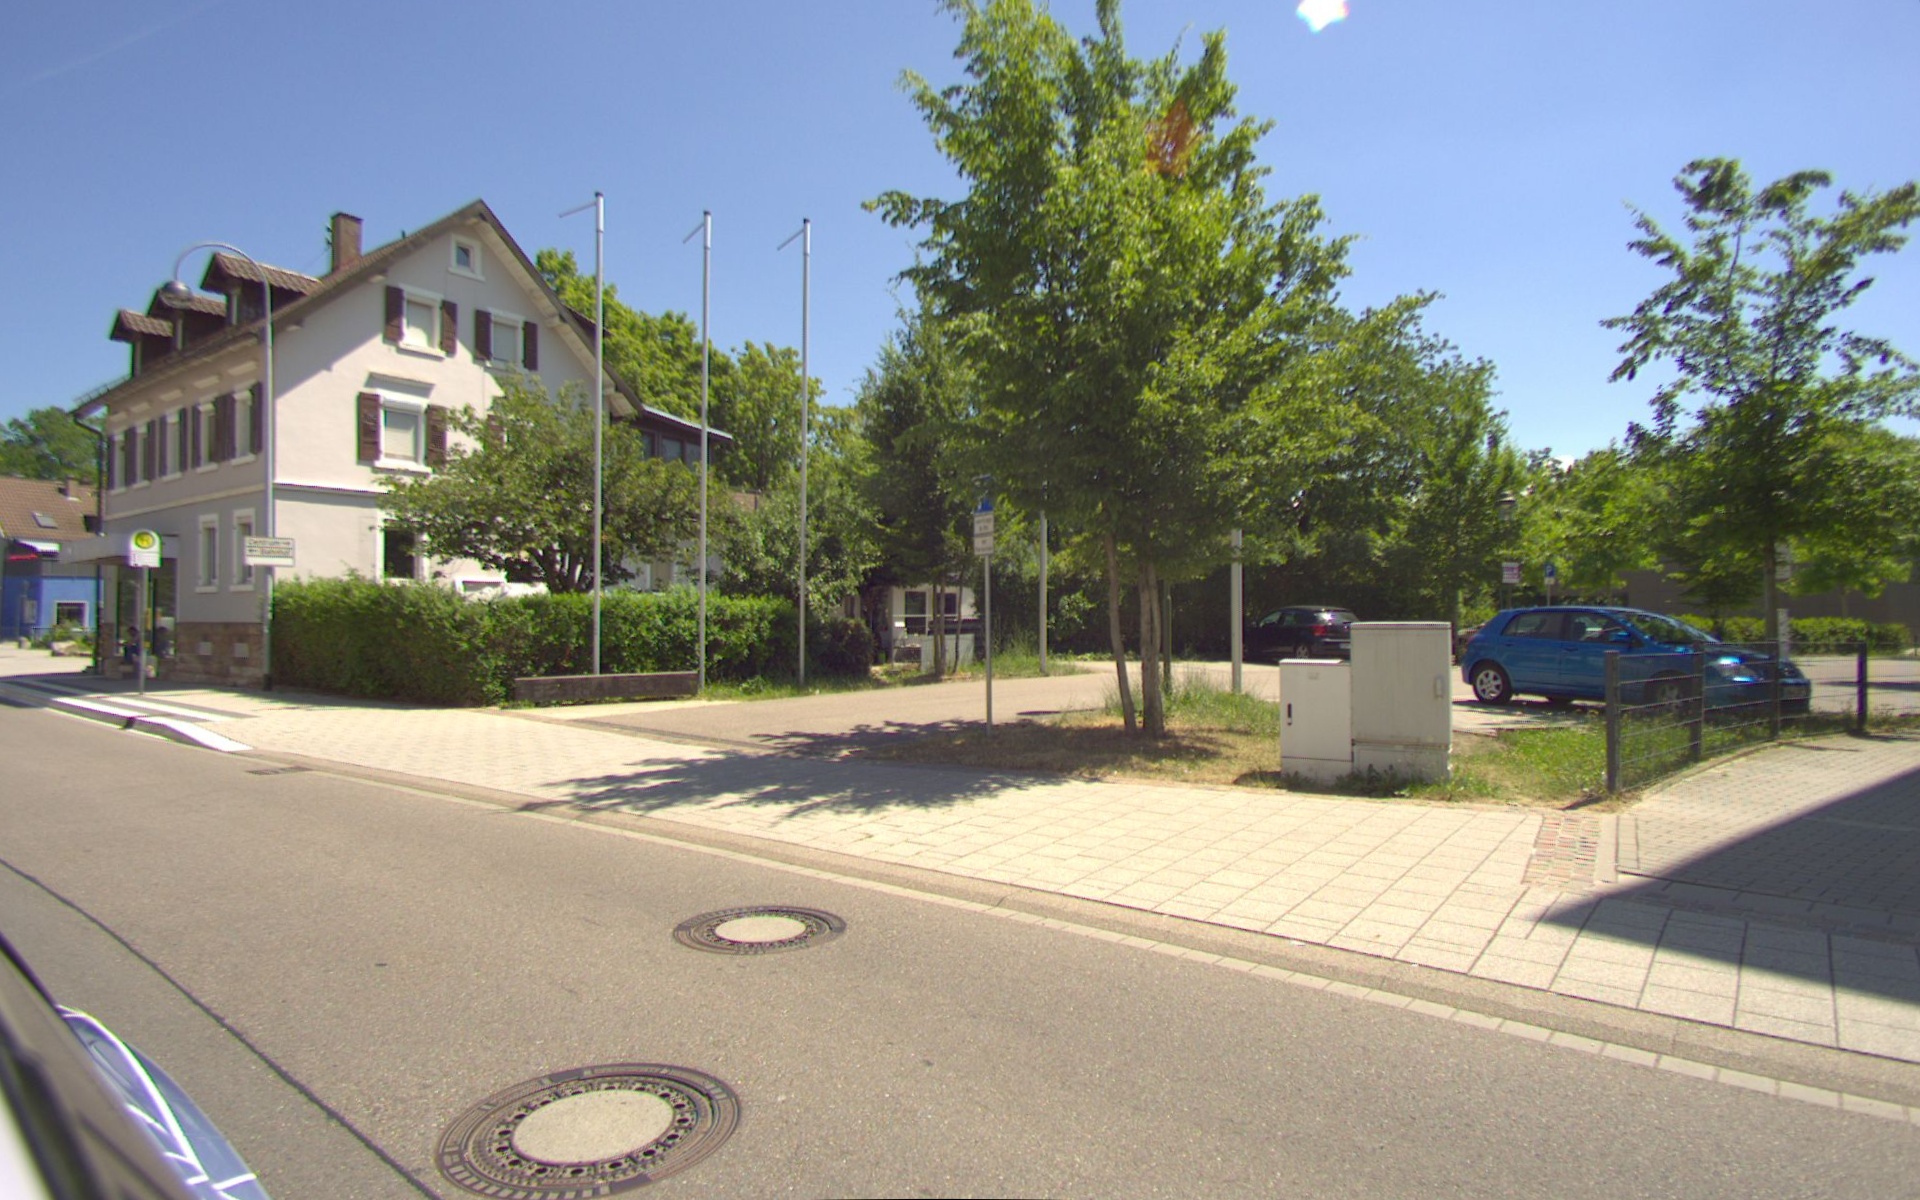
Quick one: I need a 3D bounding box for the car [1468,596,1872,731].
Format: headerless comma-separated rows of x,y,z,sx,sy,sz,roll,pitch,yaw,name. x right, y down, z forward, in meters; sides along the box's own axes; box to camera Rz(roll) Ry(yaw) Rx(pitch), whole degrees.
9.104,0.743,13.421,1.670,1.497,4.093,0,-1,-23,car

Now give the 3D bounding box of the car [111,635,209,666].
-45.130,2.873,57.170,1.806,1.620,3.883,1,-3,25,car

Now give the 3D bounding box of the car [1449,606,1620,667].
15.187,0.932,26.990,1.662,1.503,3.779,0,-1,-20,car

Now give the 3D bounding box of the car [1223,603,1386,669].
8.445,0.857,25.131,1.662,1.503,3.779,0,-1,-25,car

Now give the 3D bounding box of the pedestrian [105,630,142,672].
-21.843,1.314,26.419,0.566,1.067,0.591,-1,-2,34,pedestrian
